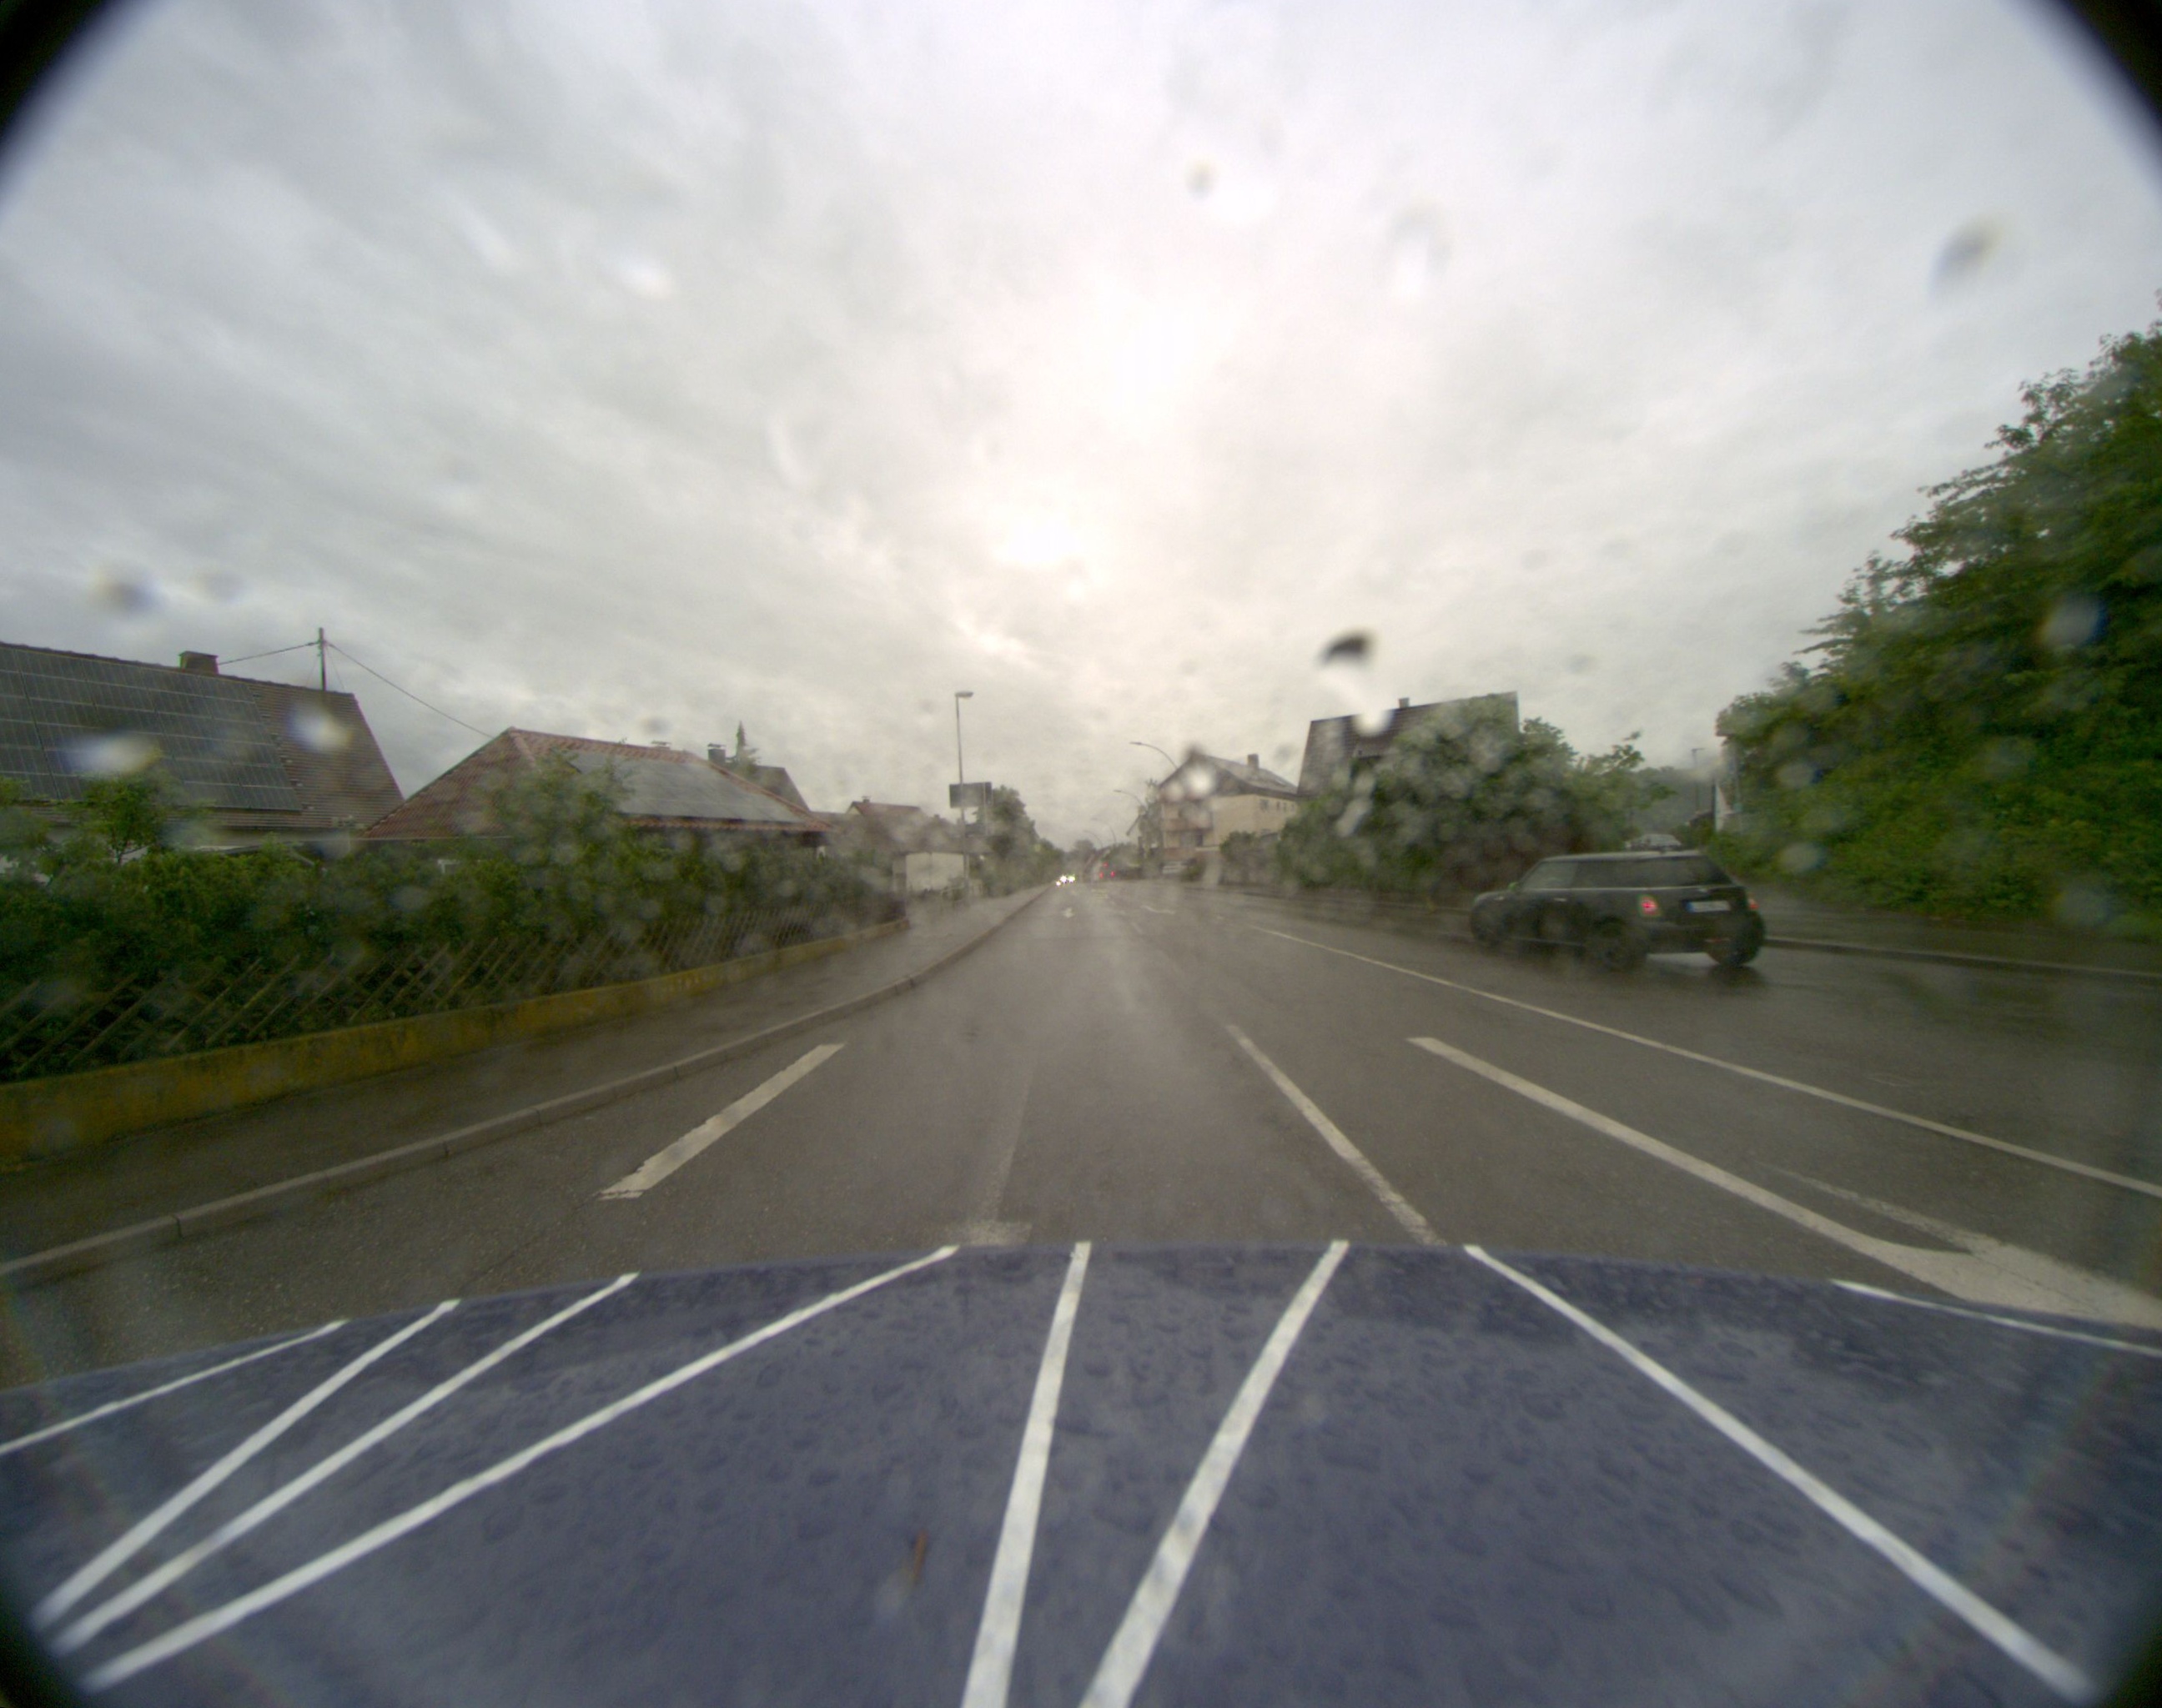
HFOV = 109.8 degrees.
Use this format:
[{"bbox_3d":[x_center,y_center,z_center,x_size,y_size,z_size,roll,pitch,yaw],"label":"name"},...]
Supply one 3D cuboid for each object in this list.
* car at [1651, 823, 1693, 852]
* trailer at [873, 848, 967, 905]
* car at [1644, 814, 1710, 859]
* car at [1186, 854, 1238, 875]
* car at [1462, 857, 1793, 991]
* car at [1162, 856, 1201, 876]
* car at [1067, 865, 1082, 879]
[{"bbox_3d":[41.131,-1.146,52.860,1.995,1.848,4.008,-3,0,41],"label":"car"},{"bbox_3d":[-7.735,1.012,36.978,1.645,2.502,4.712,-3,-1,29],"label":"trailer"},{"bbox_3d":[22.969,-0.677,29.223,1.706,1.579,3.669,-2,0,42],"label":"car"},{"bbox_3d":[10.594,0.855,61.305,3.661,1.510,1.758,-3,0,35],"label":"car"},{"bbox_3d":[6.903,0.773,10.086,1.681,1.379,3.459,-3,0,-5],"label":"car"},{"bbox_3d":[8.918,1.063,67.060,1.864,1.510,4.007,-3,0,32],"label":"car"},{"bbox_3d":[-0.941,2.618,111.337,1.998,2.002,4.000,-3,0,1],"label":"car"}]
